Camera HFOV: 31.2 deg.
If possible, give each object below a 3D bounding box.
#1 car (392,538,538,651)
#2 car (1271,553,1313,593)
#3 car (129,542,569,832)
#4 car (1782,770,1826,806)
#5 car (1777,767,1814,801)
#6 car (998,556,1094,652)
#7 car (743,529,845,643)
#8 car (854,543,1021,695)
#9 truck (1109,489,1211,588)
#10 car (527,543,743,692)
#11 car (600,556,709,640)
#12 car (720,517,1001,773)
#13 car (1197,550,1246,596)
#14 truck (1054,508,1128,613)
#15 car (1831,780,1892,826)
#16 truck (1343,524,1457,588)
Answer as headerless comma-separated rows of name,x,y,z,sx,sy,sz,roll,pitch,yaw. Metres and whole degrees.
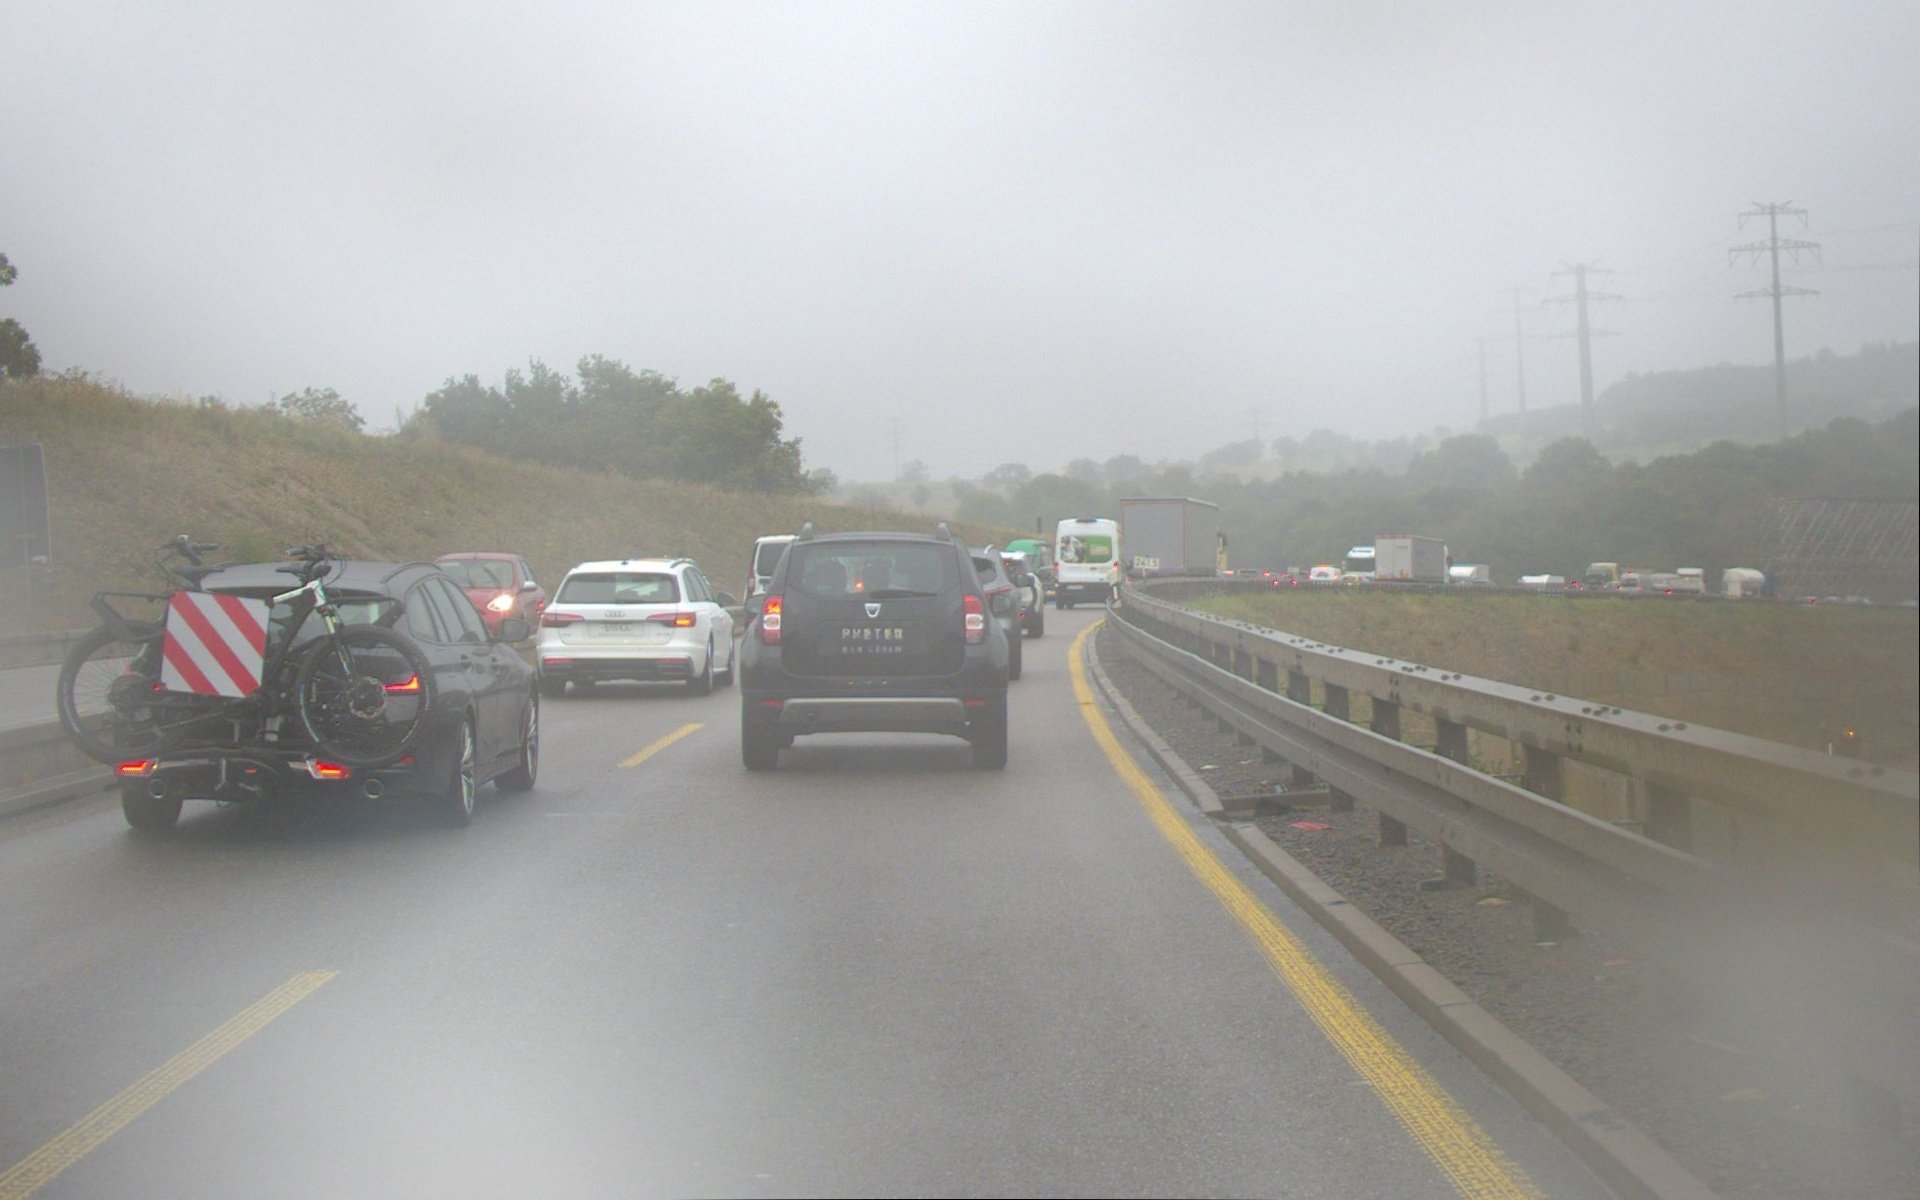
car,-7.148,-0.093,49.902,1.727,1.572,3.722,0,0,-2
car,16.415,-1.343,169.864,1.775,1.909,3.999,1,1,9
car,-3.324,0.428,19.387,1.829,1.471,3.776,0,0,0
car,47.661,10.608,194.137,1.994,1.809,3.999,1,0,8
car,61.393,13.489,252.605,1.996,2.006,3.996,9,3,18
car,1.528,0.044,62.110,1.530,1.635,4.013,1,1,-1
car,-2.855,-0.261,59.772,1.660,1.873,4.020,1,1,-2
car,-0.246,0.188,41.196,1.867,1.703,4.000,1,1,0
truck,7.952,-2.395,135.598,3.201,3.748,8.506,1,1,8
car,-3.408,0.145,36.810,1.867,1.455,4.549,1,1,0
car,-6.133,-0.063,69.475,2.045,1.627,4.990,0,0,-3
car,-0.618,0.273,24.036,1.804,1.640,3.776,0,0,1
car,11.344,-1.176,148.921,1.775,1.909,3.999,1,1,9
truck,4.068,-1.245,107.970,2.149,3.155,6.459,1,1,1
car,46.406,10.436,177.054,2.365,2.007,3.999,1,1,6
truck,30.252,-2.983,235.486,4.722,4.135,15.668,1,1,18
